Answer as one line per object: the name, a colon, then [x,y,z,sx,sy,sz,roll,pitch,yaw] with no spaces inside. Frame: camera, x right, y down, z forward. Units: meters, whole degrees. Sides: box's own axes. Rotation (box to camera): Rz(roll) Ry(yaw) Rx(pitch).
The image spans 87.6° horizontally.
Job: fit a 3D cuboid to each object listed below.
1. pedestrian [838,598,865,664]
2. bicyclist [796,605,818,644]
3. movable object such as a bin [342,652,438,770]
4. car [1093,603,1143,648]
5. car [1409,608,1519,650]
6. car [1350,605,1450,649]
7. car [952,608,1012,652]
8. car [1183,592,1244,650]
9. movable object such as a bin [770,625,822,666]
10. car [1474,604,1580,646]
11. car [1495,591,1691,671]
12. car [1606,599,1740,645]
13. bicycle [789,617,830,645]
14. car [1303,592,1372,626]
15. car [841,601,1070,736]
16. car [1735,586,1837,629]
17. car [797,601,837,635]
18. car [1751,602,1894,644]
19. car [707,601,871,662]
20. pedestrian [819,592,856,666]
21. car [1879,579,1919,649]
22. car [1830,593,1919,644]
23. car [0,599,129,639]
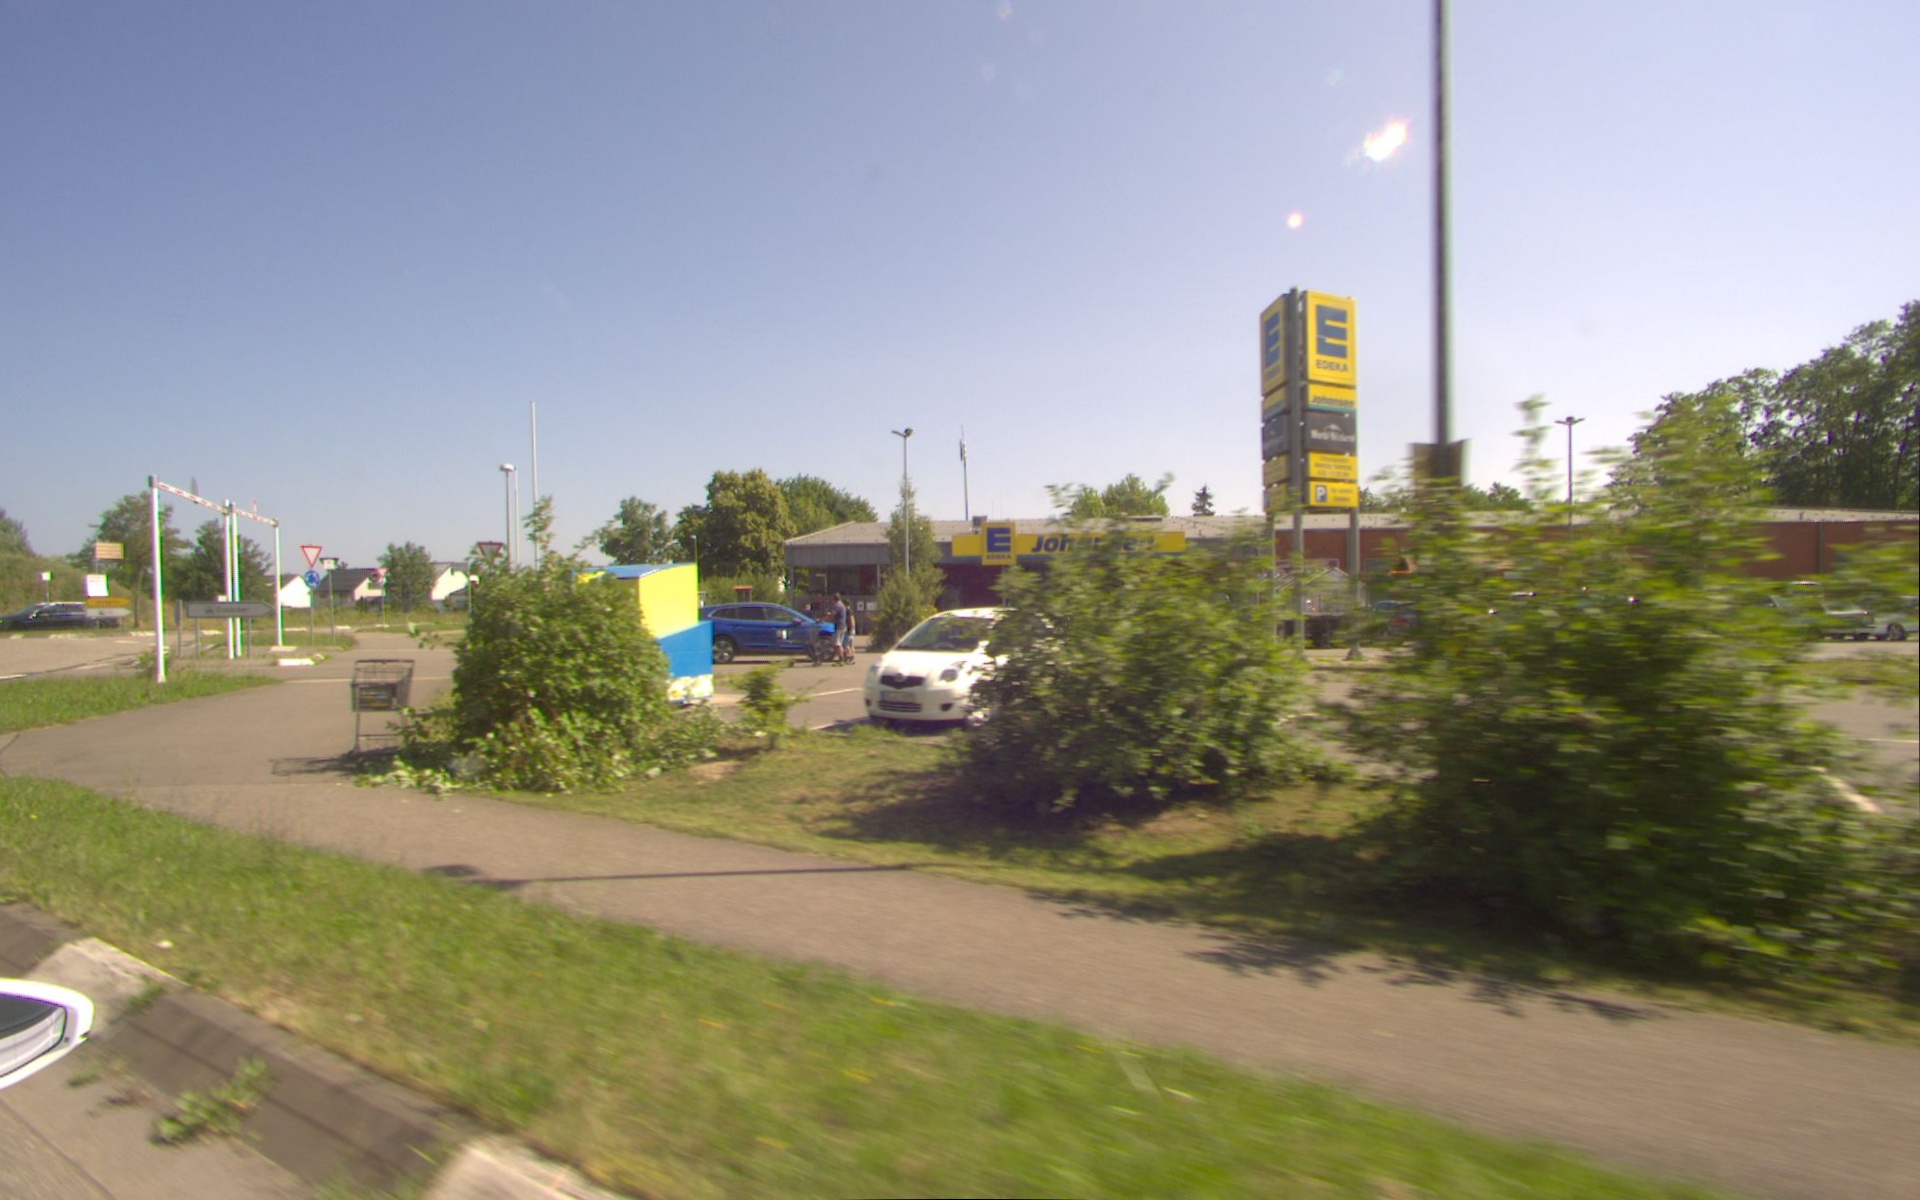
pedestrian: [-2.775,0.779,25.705,0.585,1.670,0.703,0,1,2]
bicyclist: [-6.145,0.975,40.165,0.598,1.535,0.675,0,1,28]
movable object such as a bin: [-6.305,1.173,11.046,0.859,1.135,1.446,0,0,-32]
car: [5.720,0.889,36.005,1.683,1.517,3.491,0,0,10]
car: [18.031,1.004,36.042,1.961,1.394,4.000,0,0,1]
car: [15.467,0.915,35.450,1.944,1.439,4.000,0,0,3]
car: [0.846,1.059,36.696,1.683,1.477,3.490,0,0,10]
car: [9.012,0.724,35.863,1.843,1.954,3.491,0,0,10]
movable object such as a bin: [-4.053,1.121,24.797,1.180,0.968,0.880,0,0,-2]
car: [20.413,0.864,36.221,1.682,1.416,4.000,0,0,2]
car: [13.940,0.630,22.357,1.629,1.609,3.999,0,0,-5]
car: [24.954,0.743,35.249,1.930,1.506,4.000,0,0,1]
bicycle: [-6.045,1.223,40.368,0.545,1.056,2.068,0,0,27]
car: [19.370,0.460,51.593,1.961,1.706,3.999,0,0,-1]
car: [0.071,0.847,14.276,1.786,1.583,3.590,0,1,28]
car: [40.950,0.365,49.787,1.961,2.040,3.999,0,0,4]
car: [-7.145,0.880,50.111,1.793,1.657,1.130,0,0,4]
car: [30.377,0.768,35.447,1.962,1.372,3.998,0,0,8]
car: [-4.759,0.842,27.715,4.348,1.592,1.713,0,0,-16]
pedestrian: [-3.029,0.714,24.809,0.826,1.809,0.880,0,1,-3]
car: [24.608,0.290,23.527,1.961,1.723,4.562,0,-2,3]
car: [32.763,0.607,34.803,1.962,1.684,3.998,0,0,9]
car: [-38.568,0.764,42.469,1.965,1.613,4.763,0,0,21]
